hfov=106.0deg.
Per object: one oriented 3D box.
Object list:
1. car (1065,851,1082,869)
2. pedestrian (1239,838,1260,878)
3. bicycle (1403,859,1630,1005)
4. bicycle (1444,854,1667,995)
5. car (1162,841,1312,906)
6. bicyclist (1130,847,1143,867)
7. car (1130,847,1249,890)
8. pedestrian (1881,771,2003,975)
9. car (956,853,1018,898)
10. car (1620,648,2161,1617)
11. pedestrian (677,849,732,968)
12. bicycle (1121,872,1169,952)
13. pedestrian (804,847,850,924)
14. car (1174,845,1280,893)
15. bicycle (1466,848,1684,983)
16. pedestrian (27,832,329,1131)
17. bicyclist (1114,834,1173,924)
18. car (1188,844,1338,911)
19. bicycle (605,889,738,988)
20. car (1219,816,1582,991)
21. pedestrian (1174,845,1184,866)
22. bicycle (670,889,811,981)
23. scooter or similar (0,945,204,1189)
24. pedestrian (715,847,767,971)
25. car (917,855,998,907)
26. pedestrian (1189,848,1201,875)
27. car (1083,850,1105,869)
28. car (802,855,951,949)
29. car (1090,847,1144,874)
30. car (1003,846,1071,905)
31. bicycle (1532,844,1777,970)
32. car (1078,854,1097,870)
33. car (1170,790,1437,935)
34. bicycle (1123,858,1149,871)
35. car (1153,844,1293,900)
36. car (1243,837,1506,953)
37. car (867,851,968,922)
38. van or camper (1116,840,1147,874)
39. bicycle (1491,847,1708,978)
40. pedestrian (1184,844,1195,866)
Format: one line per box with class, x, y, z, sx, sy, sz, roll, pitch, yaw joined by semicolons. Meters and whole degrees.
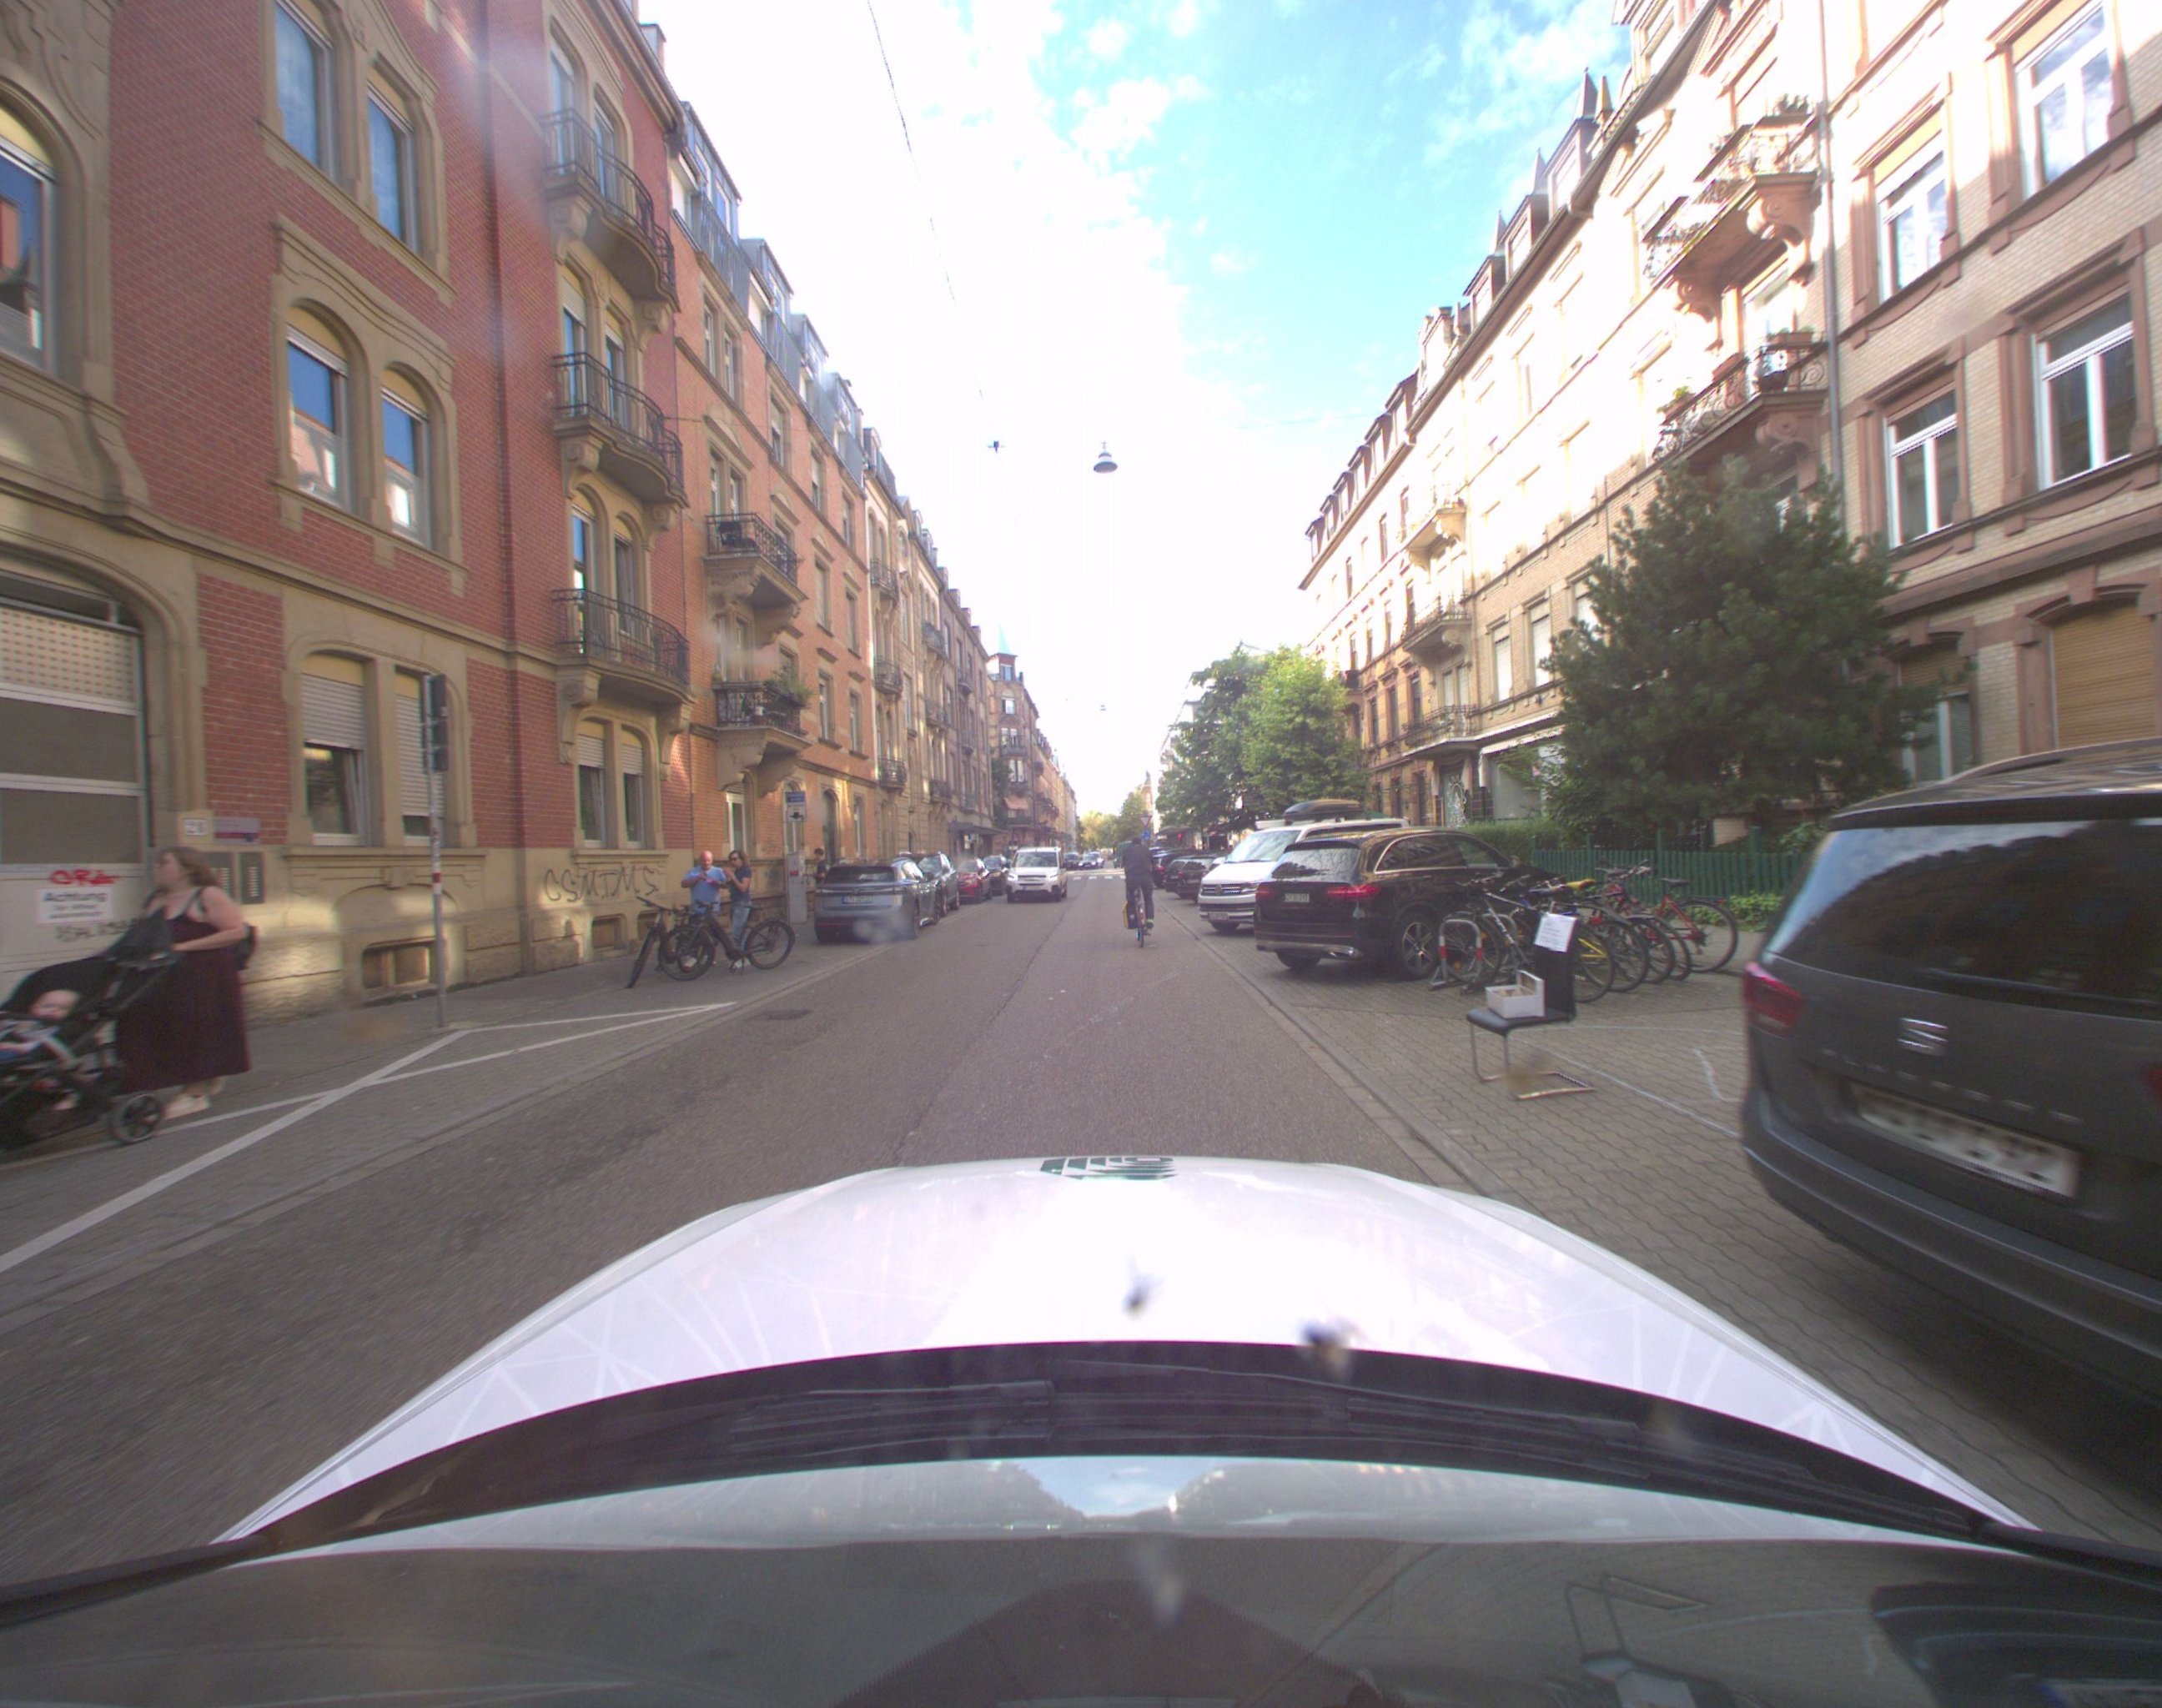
car;-0.919;0.696;99.004;1.987;2.013;3.999;-3;0;0
pedestrian;8.149;0.191;39.321;0.835;1.878;0.724;-3;0;6
bicycle;3.987;0.674;7.639;0.407;1.182;1.899;-3;0;-29
bicycle;4.490;0.630;7.868;0.407;1.182;1.850;-3;0;-29
car;4.748;0.538;24.440;4.491;1.476;1.868;-6;2;-38
bicyclist;4.820;0.270;71.035;0.846;1.665;0.795;-1;0;31
car;4.784;0.591;35.771;4.779;1.456;2.039;-5;1;-27
pedestrian;7.677;0.158;7.269;0.652;1.695;0.691;-1;0;-42
car;-3.783;0.844;33.531;1.784;1.628;4.849;-3;-1;2
car;4.244;0.314;1.966;4.621;1.784;1.810;-5;2;0
pedestrian;-5.487;0.766;11.869;0.683;1.661;0.546;-1;0;-29
bicycle;1.047;0.917;13.765;0.663;1.178;2.498;-1;0;1
pedestrian;-6.105;0.747;19.593;0.752;1.808;0.864;-1;0;5
car;5.440;0.539;30.212;3.737;1.485;1.722;-4;1;-37
bicycle;4.850;0.575;8.146;0.407;1.182;1.850;-3;0;-29
pedestrian;-5.501;0.713;5.038;0.910;1.661;0.826;-1;0;-7
bicyclist;1.046;0.415;13.851;0.930;1.484;0.747;-1;0;1
car;4.907;0.578;21.701;4.015;1.459;1.730;-4;0;-40
bicycle;-5.283;1.047;10.653;0.490;1.095;1.910;0;0;11
car;4.064;0.443;10.130;4.475;1.732;1.979;-2;0;-34
pedestrian;8.673;0.124;72.007;0.864;1.851;0.613;-3;0;7
bicycle;-4.518;1.038;10.957;0.477;1.059;1.915;-1;-1;26
scooter or similar;-5.440;1.066;4.308;0.604;1.055;0.921;-1;0;-4
pedestrian;-4.903;0.762;11.727;0.568;1.709;0.661;-1;0;-33
car;-4.155;0.874;28.063;1.986;1.545;4.427;-2;0;1
pedestrian;7.507;0.514;53.764;0.624;1.739;0.778;-3;0;14
car;1.433;0.575;87.383;1.934;1.722;4.855;-4;1;4
car;-3.941;0.840;16.658;1.820;1.578;5.260;-1;0;-2
car;2.658;0.464;60.661;3.973;1.882;2.000;-1;0;0
car;-1.430;0.687;28.252;1.910;1.828;4.440;-1;0;2
bicycle;5.978;0.517;8.628;0.812;1.146;1.918;-3;0;-27
car;0.605;0.814;78.569;1.744;1.436;4.211;-2;-1;0
car;4.433;0.065;15.916;5.178;2.405;1.899;-3;0;-32
bicycle;4.826;0.888;71.027;2.164;1.092;0.681;-1;0;27
car;4.806;0.557;27.344;4.486;1.464;1.860;-5;1;-33
car;4.857;0.549;13.283;4.254;1.549;1.854;-2;1;-34
car;-4.326;0.787;22.326;1.868;1.681;4.891;-1;0;-2
van or camper;4.680;0.287;76.653;2.523;3.037;4.457;-3;0;0
bicycle;5.240;0.561;8.380;0.407;1.182;1.850;-3;0;-29
pedestrian;9.553;0.080;71.906;0.864;1.851;0.613;-3;0;7
